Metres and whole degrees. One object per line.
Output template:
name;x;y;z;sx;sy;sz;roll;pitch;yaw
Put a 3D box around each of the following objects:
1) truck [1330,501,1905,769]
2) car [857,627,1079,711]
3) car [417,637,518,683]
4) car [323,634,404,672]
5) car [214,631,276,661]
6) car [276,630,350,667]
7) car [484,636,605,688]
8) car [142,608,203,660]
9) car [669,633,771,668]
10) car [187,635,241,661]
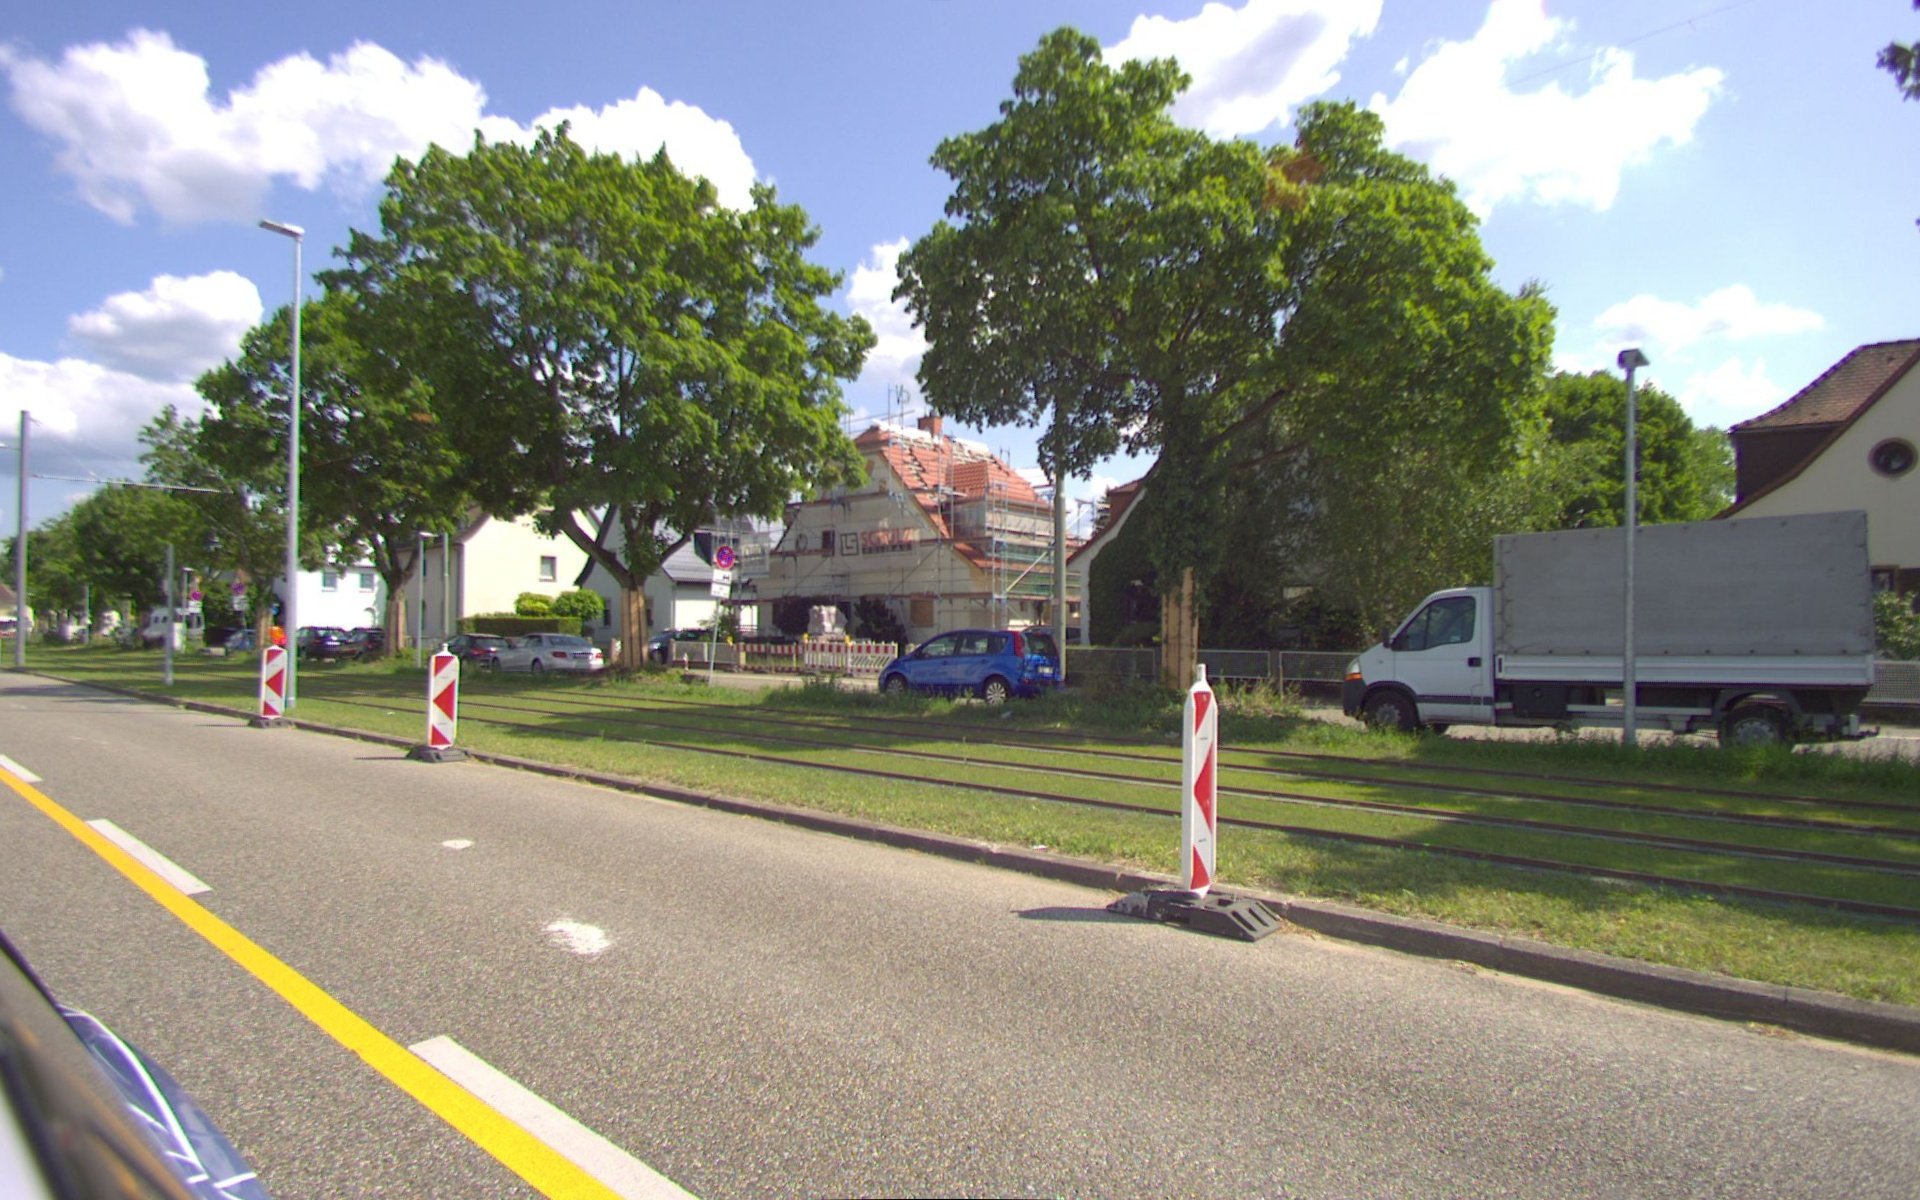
truck;8.301;0.453;13.398;5.971;2.802;2.242;-2;-3;41
car;0.062;1.350;20.268;4.403;1.497;1.680;-3;-3;41
car;-17.517;2.118;35.889;4.403;1.497;1.680;-3;-3;41
car;-25.176;2.252;42.648;4.403;1.497;1.680;-3;-3;41
car;-37.490;2.426;53.047;4.403;1.497;1.680;-3;-3;41
car;-29.491;2.223;46.071;4.403;1.584;1.680;-3;-3;41
car;-13.121;1.931;31.857;4.520;1.497;1.765;-4;-3;42
car;-49.512;2.160;63.604;5.080;3.061;2.108;-3;-3;41
car;-10.922;2.291;46.207;1.702;1.497;4.345;-3;-3;41
car;-44.472;2.874;60.327;4.403;1.497;1.680;-3;-3;41
